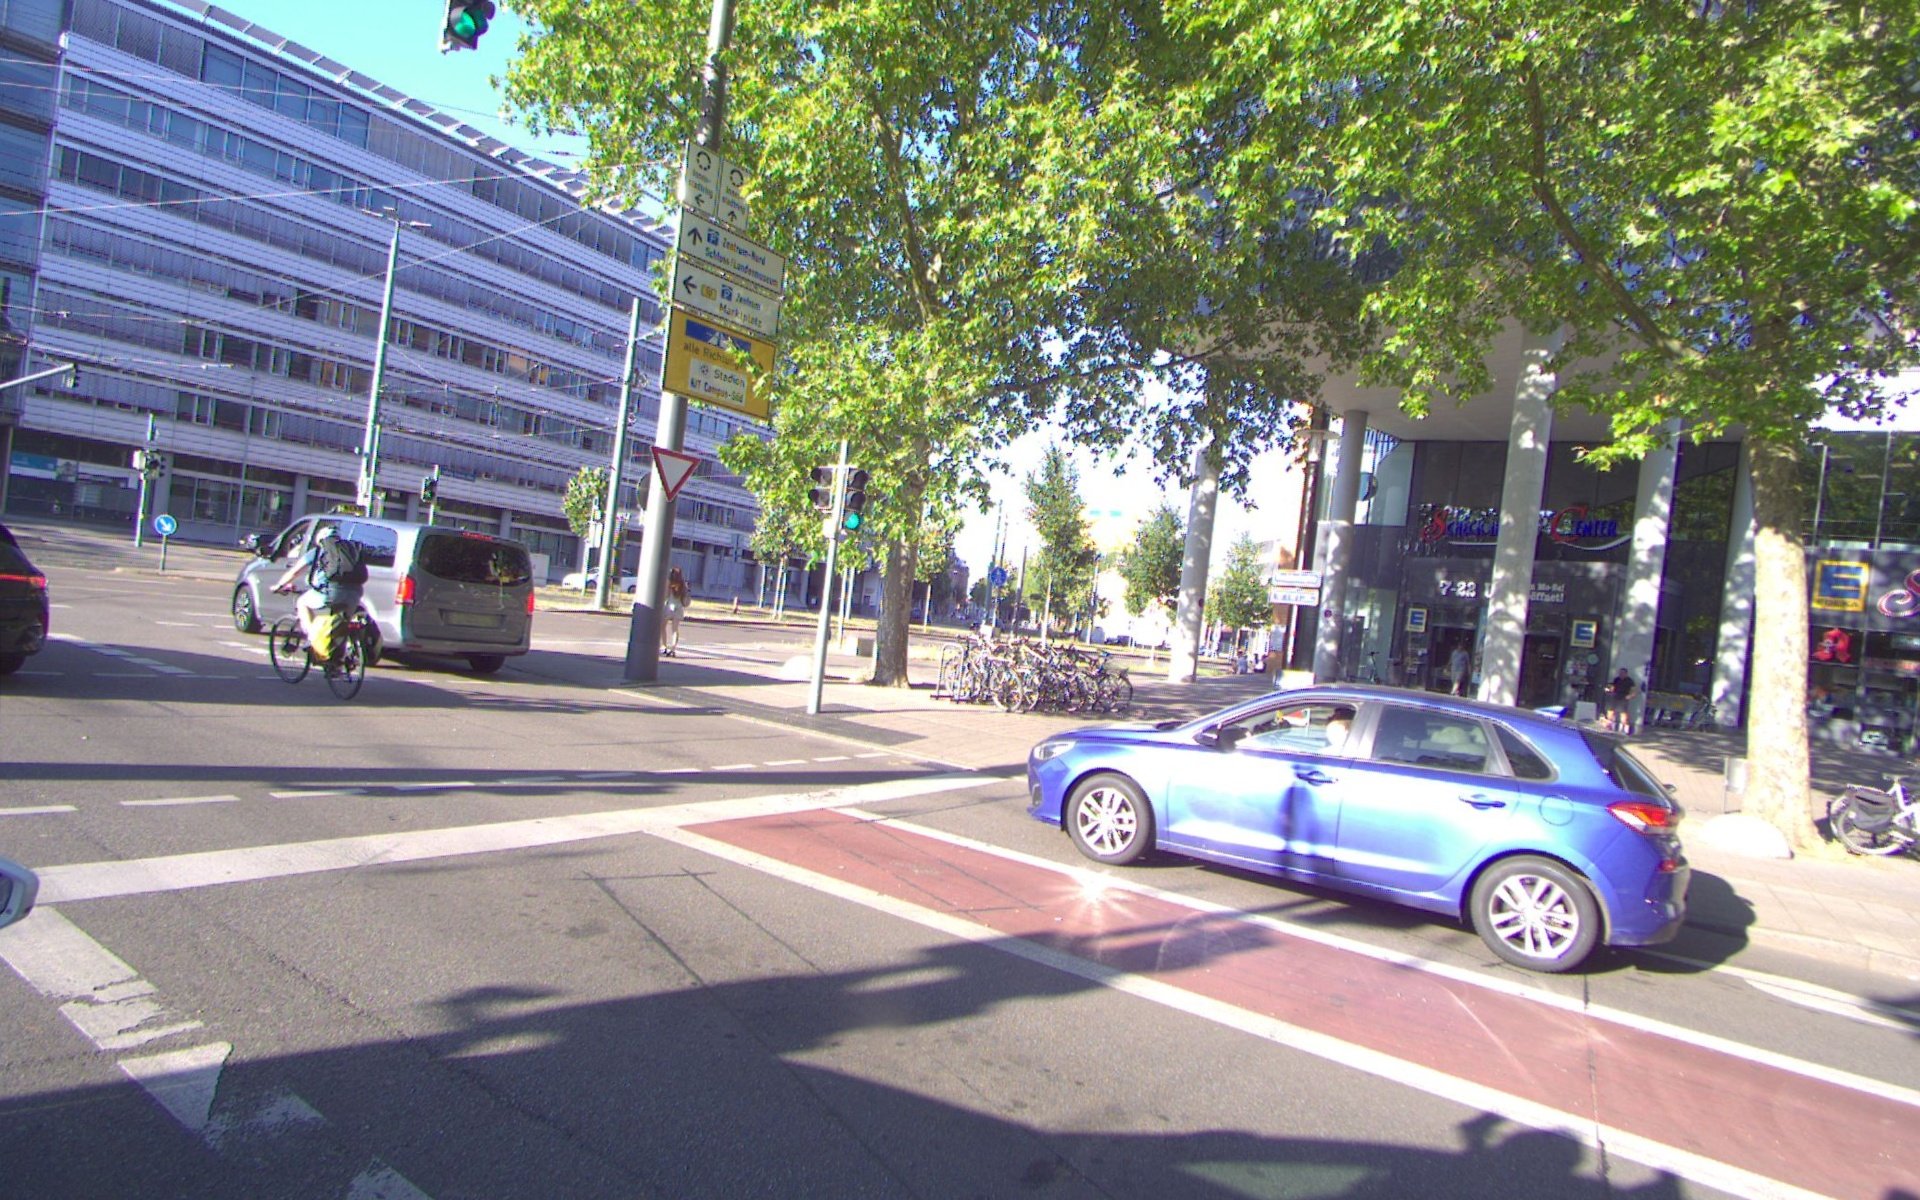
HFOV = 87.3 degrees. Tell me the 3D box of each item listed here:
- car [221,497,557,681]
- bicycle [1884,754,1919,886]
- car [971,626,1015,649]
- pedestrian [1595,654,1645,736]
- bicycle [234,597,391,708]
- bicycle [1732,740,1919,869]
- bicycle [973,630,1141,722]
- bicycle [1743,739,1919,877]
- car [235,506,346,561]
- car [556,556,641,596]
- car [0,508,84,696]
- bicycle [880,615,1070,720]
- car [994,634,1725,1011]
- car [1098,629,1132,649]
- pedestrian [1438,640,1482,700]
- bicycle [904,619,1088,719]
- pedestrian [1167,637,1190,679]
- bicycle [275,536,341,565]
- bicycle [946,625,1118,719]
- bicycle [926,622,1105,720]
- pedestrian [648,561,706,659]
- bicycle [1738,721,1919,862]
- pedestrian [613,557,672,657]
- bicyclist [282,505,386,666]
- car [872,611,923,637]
[{"bbox_3d":[-8.027,-0.204,13.992,4.804,1.919,2.003,7,-1,34],"label":"car"},{"bbox_3d":[10.379,2.246,9.326,2.514,1.234,0.756,5,-2,37],"label":"bicycle"},{"bbox_3d":[2.969,3.354,89.746,1.852,1.614,4.121,6,-2,35],"label":"car"},{"bbox_3d":[17.512,2.527,26.700,0.847,2.037,1.021,6,-1,38],"label":"pedestrian"},{"bbox_3d":[-6.398,0.503,9.905,1.830,0.798,0.491,8,0,32],"label":"bicycle"},{"bbox_3d":[11.551,2.553,11.863,3.758,1.234,0.792,5,-2,36],"label":"bicycle"},{"bbox_3d":[1.726,1.365,18.287,2.896,1.250,0.698,6,-4,31],"label":"bicycle"},{"bbox_3d":[10.689,2.361,10.575,3.758,1.234,0.756,5,-2,37],"label":"bicycle"},{"bbox_3d":[-33.279,-3.275,50.077,1.967,2.037,3.995,6,-2,32],"label":"car"},{"bbox_3d":[-20.077,-1.331,56.047,1.852,1.614,3.991,6,-2,35],"label":"car"},{"bbox_3d":[-9.376,-0.230,8.290,4.221,1.421,1.768,7,-1,28],"label":"car"},{"bbox_3d":[0.189,1.031,15.714,2.896,1.252,0.705,6,-1,31],"label":"bicycle"},{"bbox_3d":[2.544,1.275,7.048,4.141,1.476,1.751,7,-1,30],"label":"car"},{"bbox_3d":[16.567,4.173,107.659,1.852,1.614,4.121,6,-2,35],"label":"car"},{"bbox_3d":[17.067,2.385,34.375,0.800,1.913,0.871,5,1,-16],"label":"pedestrian"},{"bbox_3d":[0.544,1.098,16.339,2.896,1.243,0.686,6,-1,31],"label":"bicycle"},{"bbox_3d":[8.903,2.360,41.019,0.569,1.612,0.595,7,0,32],"label":"pedestrian"},{"bbox_3d":[-30.059,-2.276,46.433,0.627,1.035,2.410,7,0,36],"label":"bicycle"},{"bbox_3d":[1.223,1.216,17.652,2.896,1.254,0.704,6,2,31],"label":"bicycle"},{"bbox_3d":[0.902,1.172,16.964,2.896,1.252,0.705,6,-1,31],"label":"bicycle"},{"bbox_3d":[-5.483,0.193,19.472,0.680,1.781,0.734,6,1,-38],"label":"pedestrian"},{"bbox_3d":[11.118,2.360,11.177,3.757,1.235,0.727,10,1,38],"label":"bicycle"},{"bbox_3d":[-6.012,0.133,19.038,0.674,1.781,0.734,6,1,-38],"label":"pedestrian"},{"bbox_3d":[-6.076,-0.139,9.765,0.605,1.457,0.487,8,0,31],"label":"bicyclist"},{"bbox_3d":[-5.127,1.999,82.648,1.852,1.614,4.121,6,-2,35],"label":"car"}]
